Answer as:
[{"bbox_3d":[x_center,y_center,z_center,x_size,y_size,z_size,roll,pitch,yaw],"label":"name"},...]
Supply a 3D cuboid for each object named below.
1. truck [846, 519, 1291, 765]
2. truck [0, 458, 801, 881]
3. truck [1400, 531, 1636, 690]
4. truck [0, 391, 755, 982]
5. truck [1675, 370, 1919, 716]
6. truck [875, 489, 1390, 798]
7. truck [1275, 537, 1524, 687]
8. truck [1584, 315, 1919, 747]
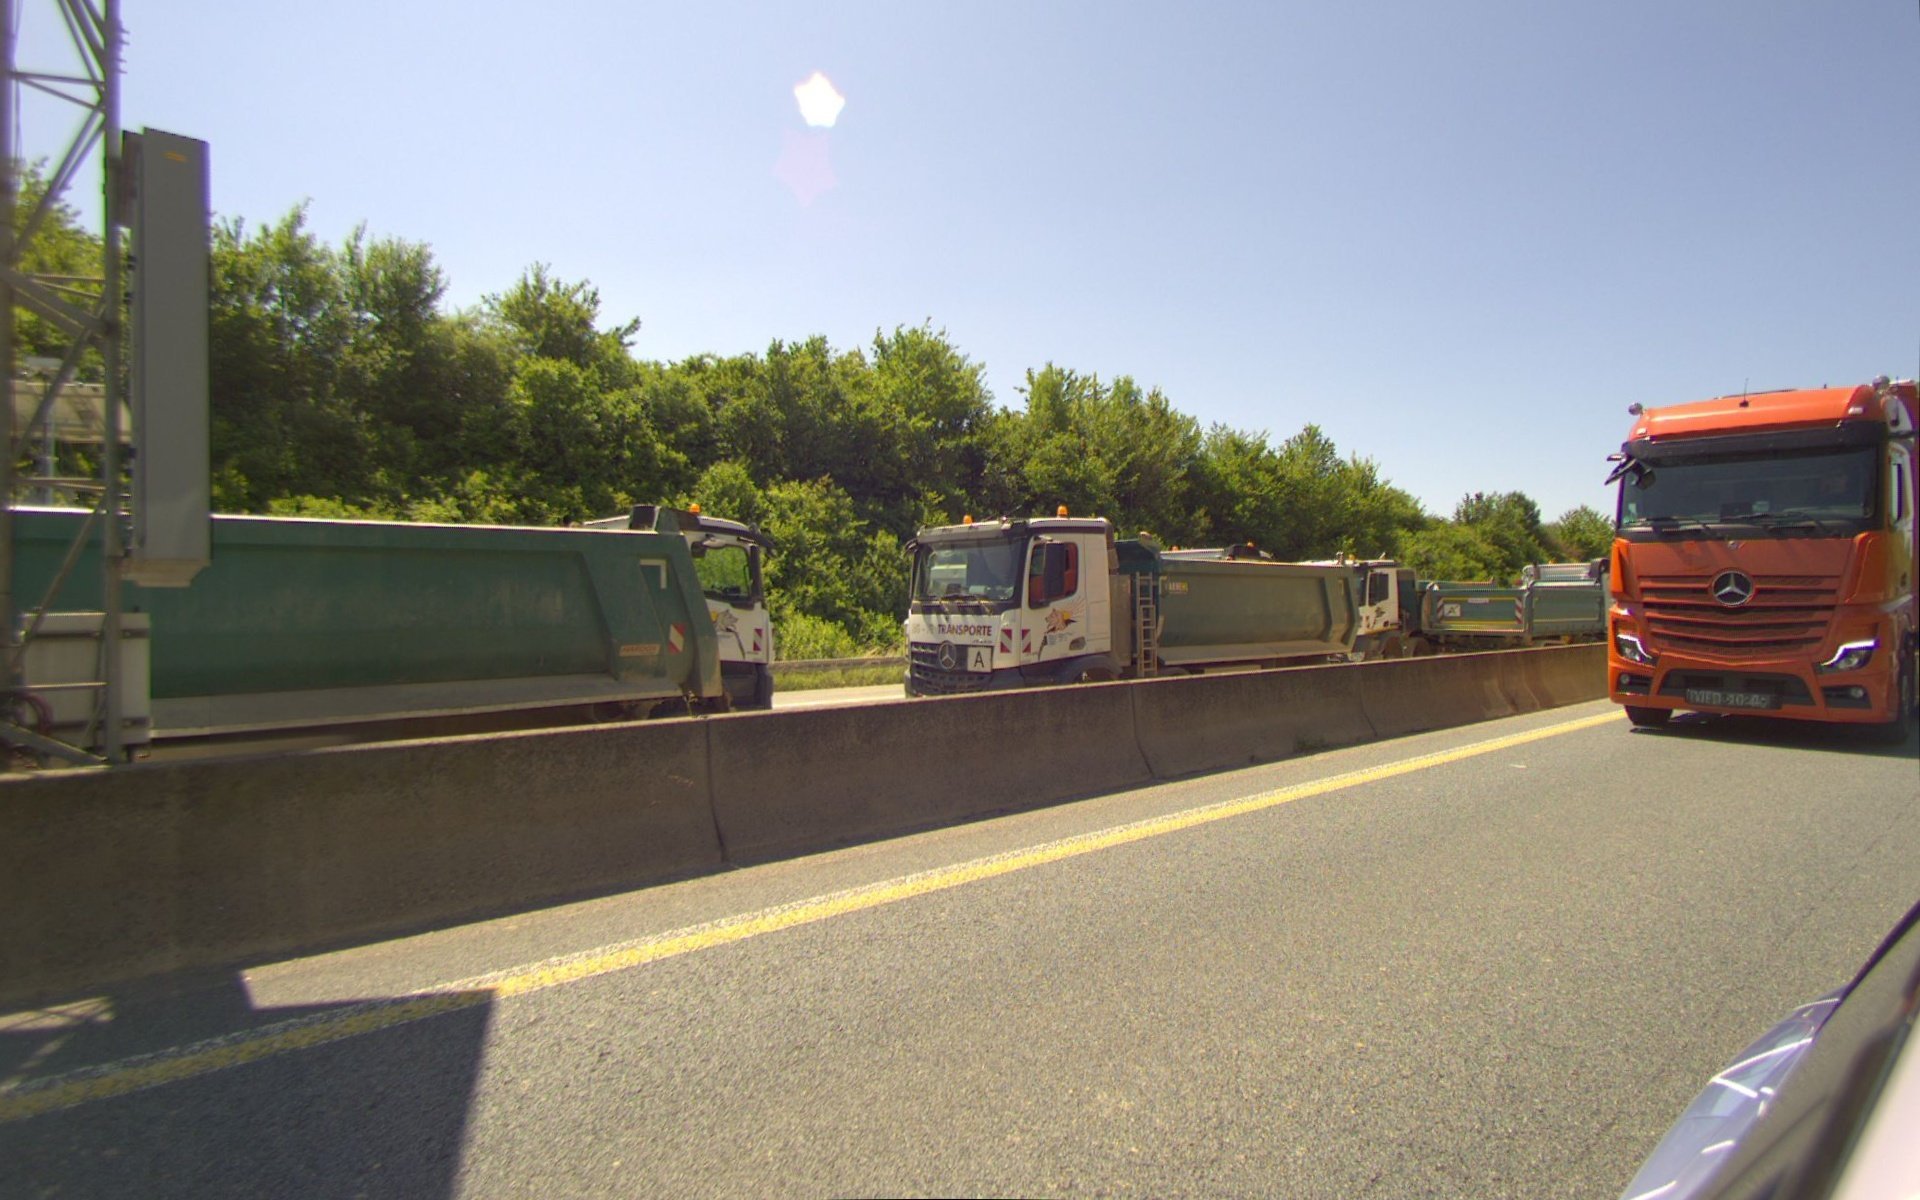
[{"bbox_3d":[2.495,0.595,18.990,9.436,3.602,2.691,0,0,-42],"label":"truck"},{"bbox_3d":[-6.498,0.551,11.047,9.434,3.421,2.692,0,0,-41],"label":"truck"},{"bbox_3d":[15.166,0.223,27.042,9.436,3.602,2.542,0,0,-42],"label":"truck"},{"bbox_3d":[-6.295,0.527,7.568,9.241,3.602,2.692,0,0,-41],"label":"truck"},{"bbox_3d":[15.508,-0.734,16.925,12.987,4.061,2.687,-1,0,-41],"label":"truck"},{"bbox_3d":[3.251,0.489,15.964,9.436,3.602,2.691,0,0,-42],"label":"truck"},{"bbox_3d":[12.637,0.272,28.497,9.436,3.602,2.691,0,0,-42],"label":"truck"},{"bbox_3d":[10.533,-0.680,12.666,6.607,4.061,2.687,-1,0,-40],"label":"truck"}]
